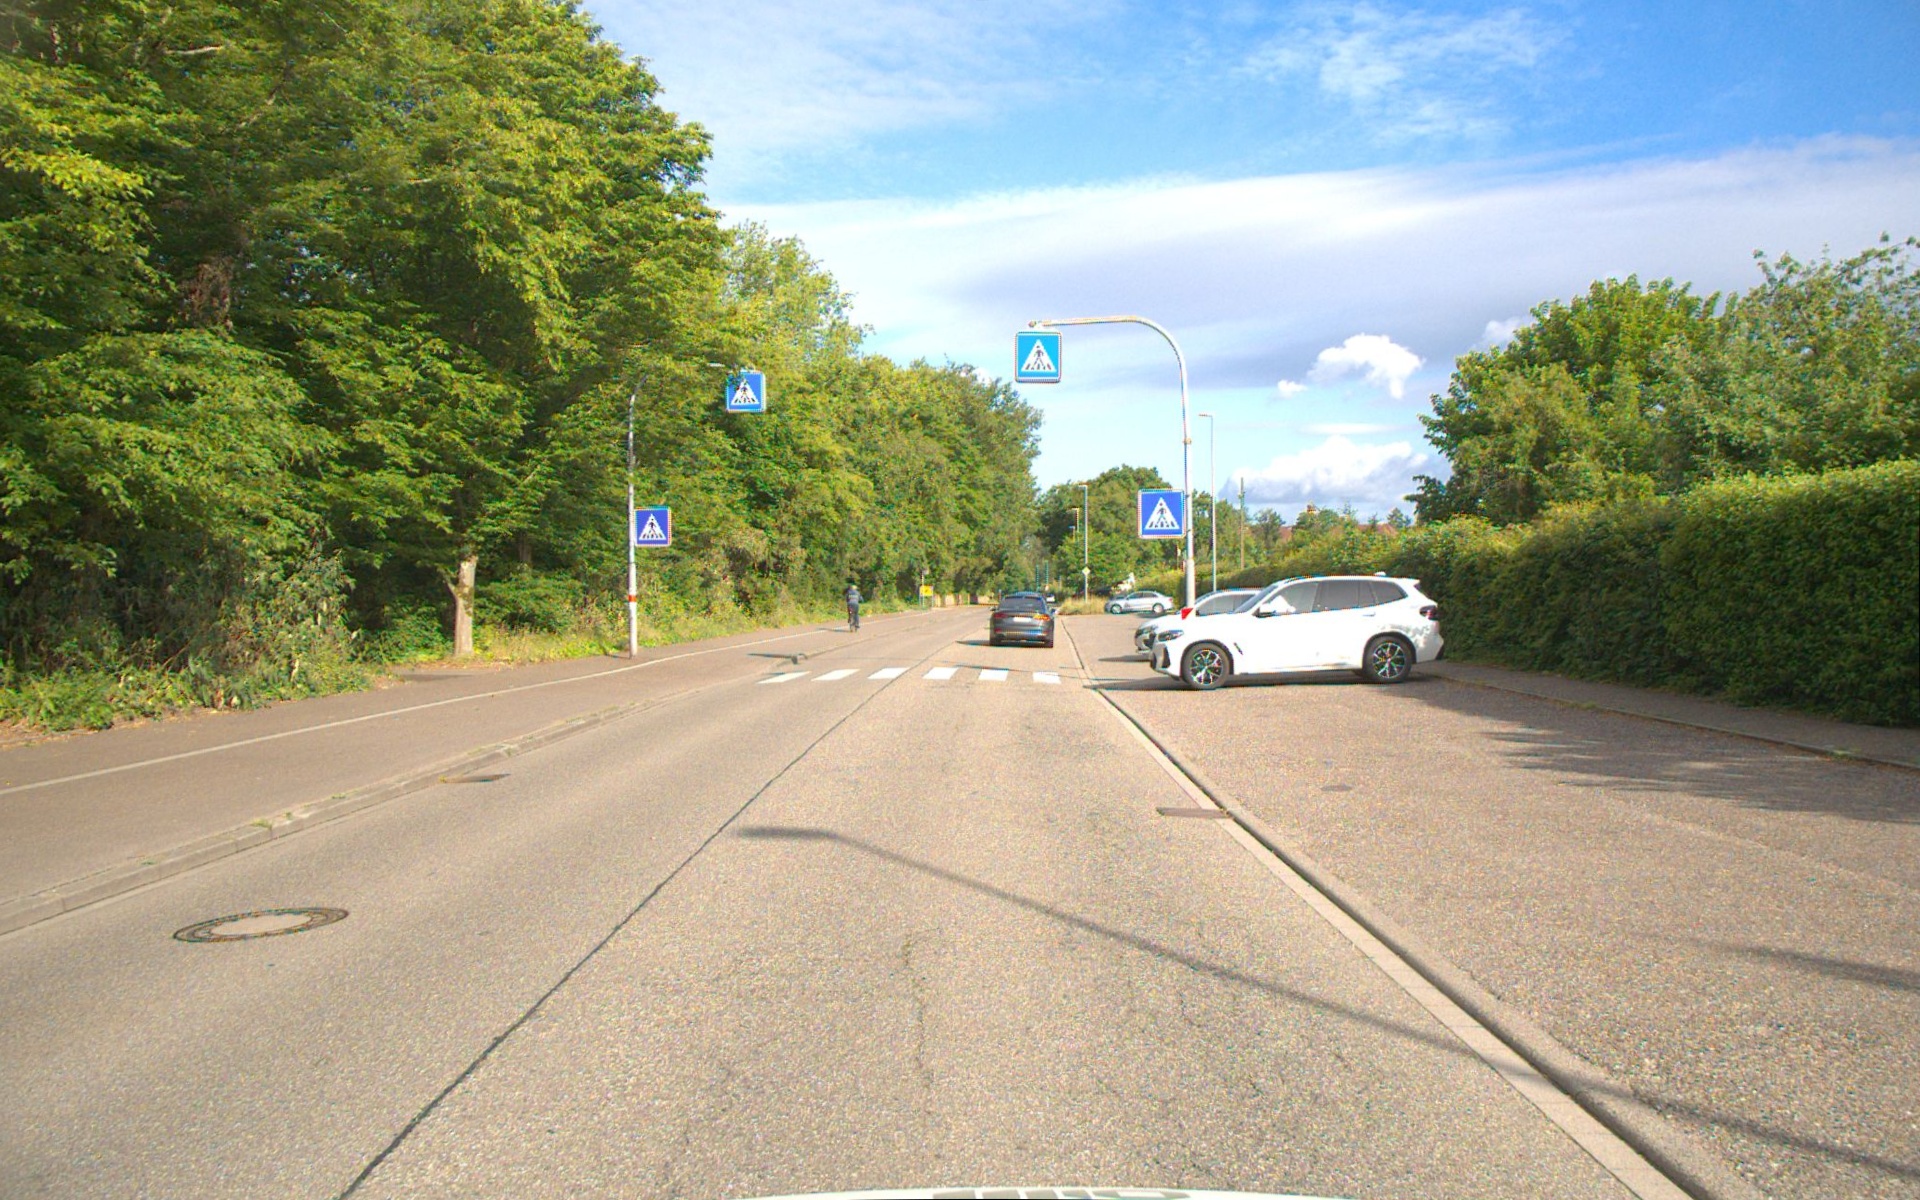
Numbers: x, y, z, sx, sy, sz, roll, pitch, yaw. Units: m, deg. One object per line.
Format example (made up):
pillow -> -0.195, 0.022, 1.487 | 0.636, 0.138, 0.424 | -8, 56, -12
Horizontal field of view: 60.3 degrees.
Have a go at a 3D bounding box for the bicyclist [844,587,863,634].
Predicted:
bicyclist -> -3.922, 0.368, 60.798 | 0.596, 1.706, 0.884 | 0, 1, 3

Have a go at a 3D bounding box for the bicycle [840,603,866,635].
bicycle -> -3.931, 0.691, 60.746 | 0.648, 1.116, 2.350 | 0, 1, 4

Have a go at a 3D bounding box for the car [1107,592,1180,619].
car -> 11.309, 0.345, 101.898 | 4.269, 1.468, 1.934 | -3, 0, 10

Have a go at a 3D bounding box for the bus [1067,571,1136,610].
bus -> 11.246, -0.779, 131.900 | 5.255, 2.794, 2.069 | -3, 1, 0

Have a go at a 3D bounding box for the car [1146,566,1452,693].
car -> 5.293, 0.445, 26.303 | 4.492, 1.729, 1.764 | -3, 0, 3

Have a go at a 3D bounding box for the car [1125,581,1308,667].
car -> 5.724, 0.522, 37.230 | 3.778, 1.515, 1.693 | -5, 2, 1

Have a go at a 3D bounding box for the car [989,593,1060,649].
car -> 1.808, 0.567, 47.027 | 1.925, 1.459, 4.337 | 0, 1, 1

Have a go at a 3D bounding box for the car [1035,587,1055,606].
car -> 6.986, -0.303, 135.589 | 1.463, 1.390, 3.264 | -2, 1, 5
